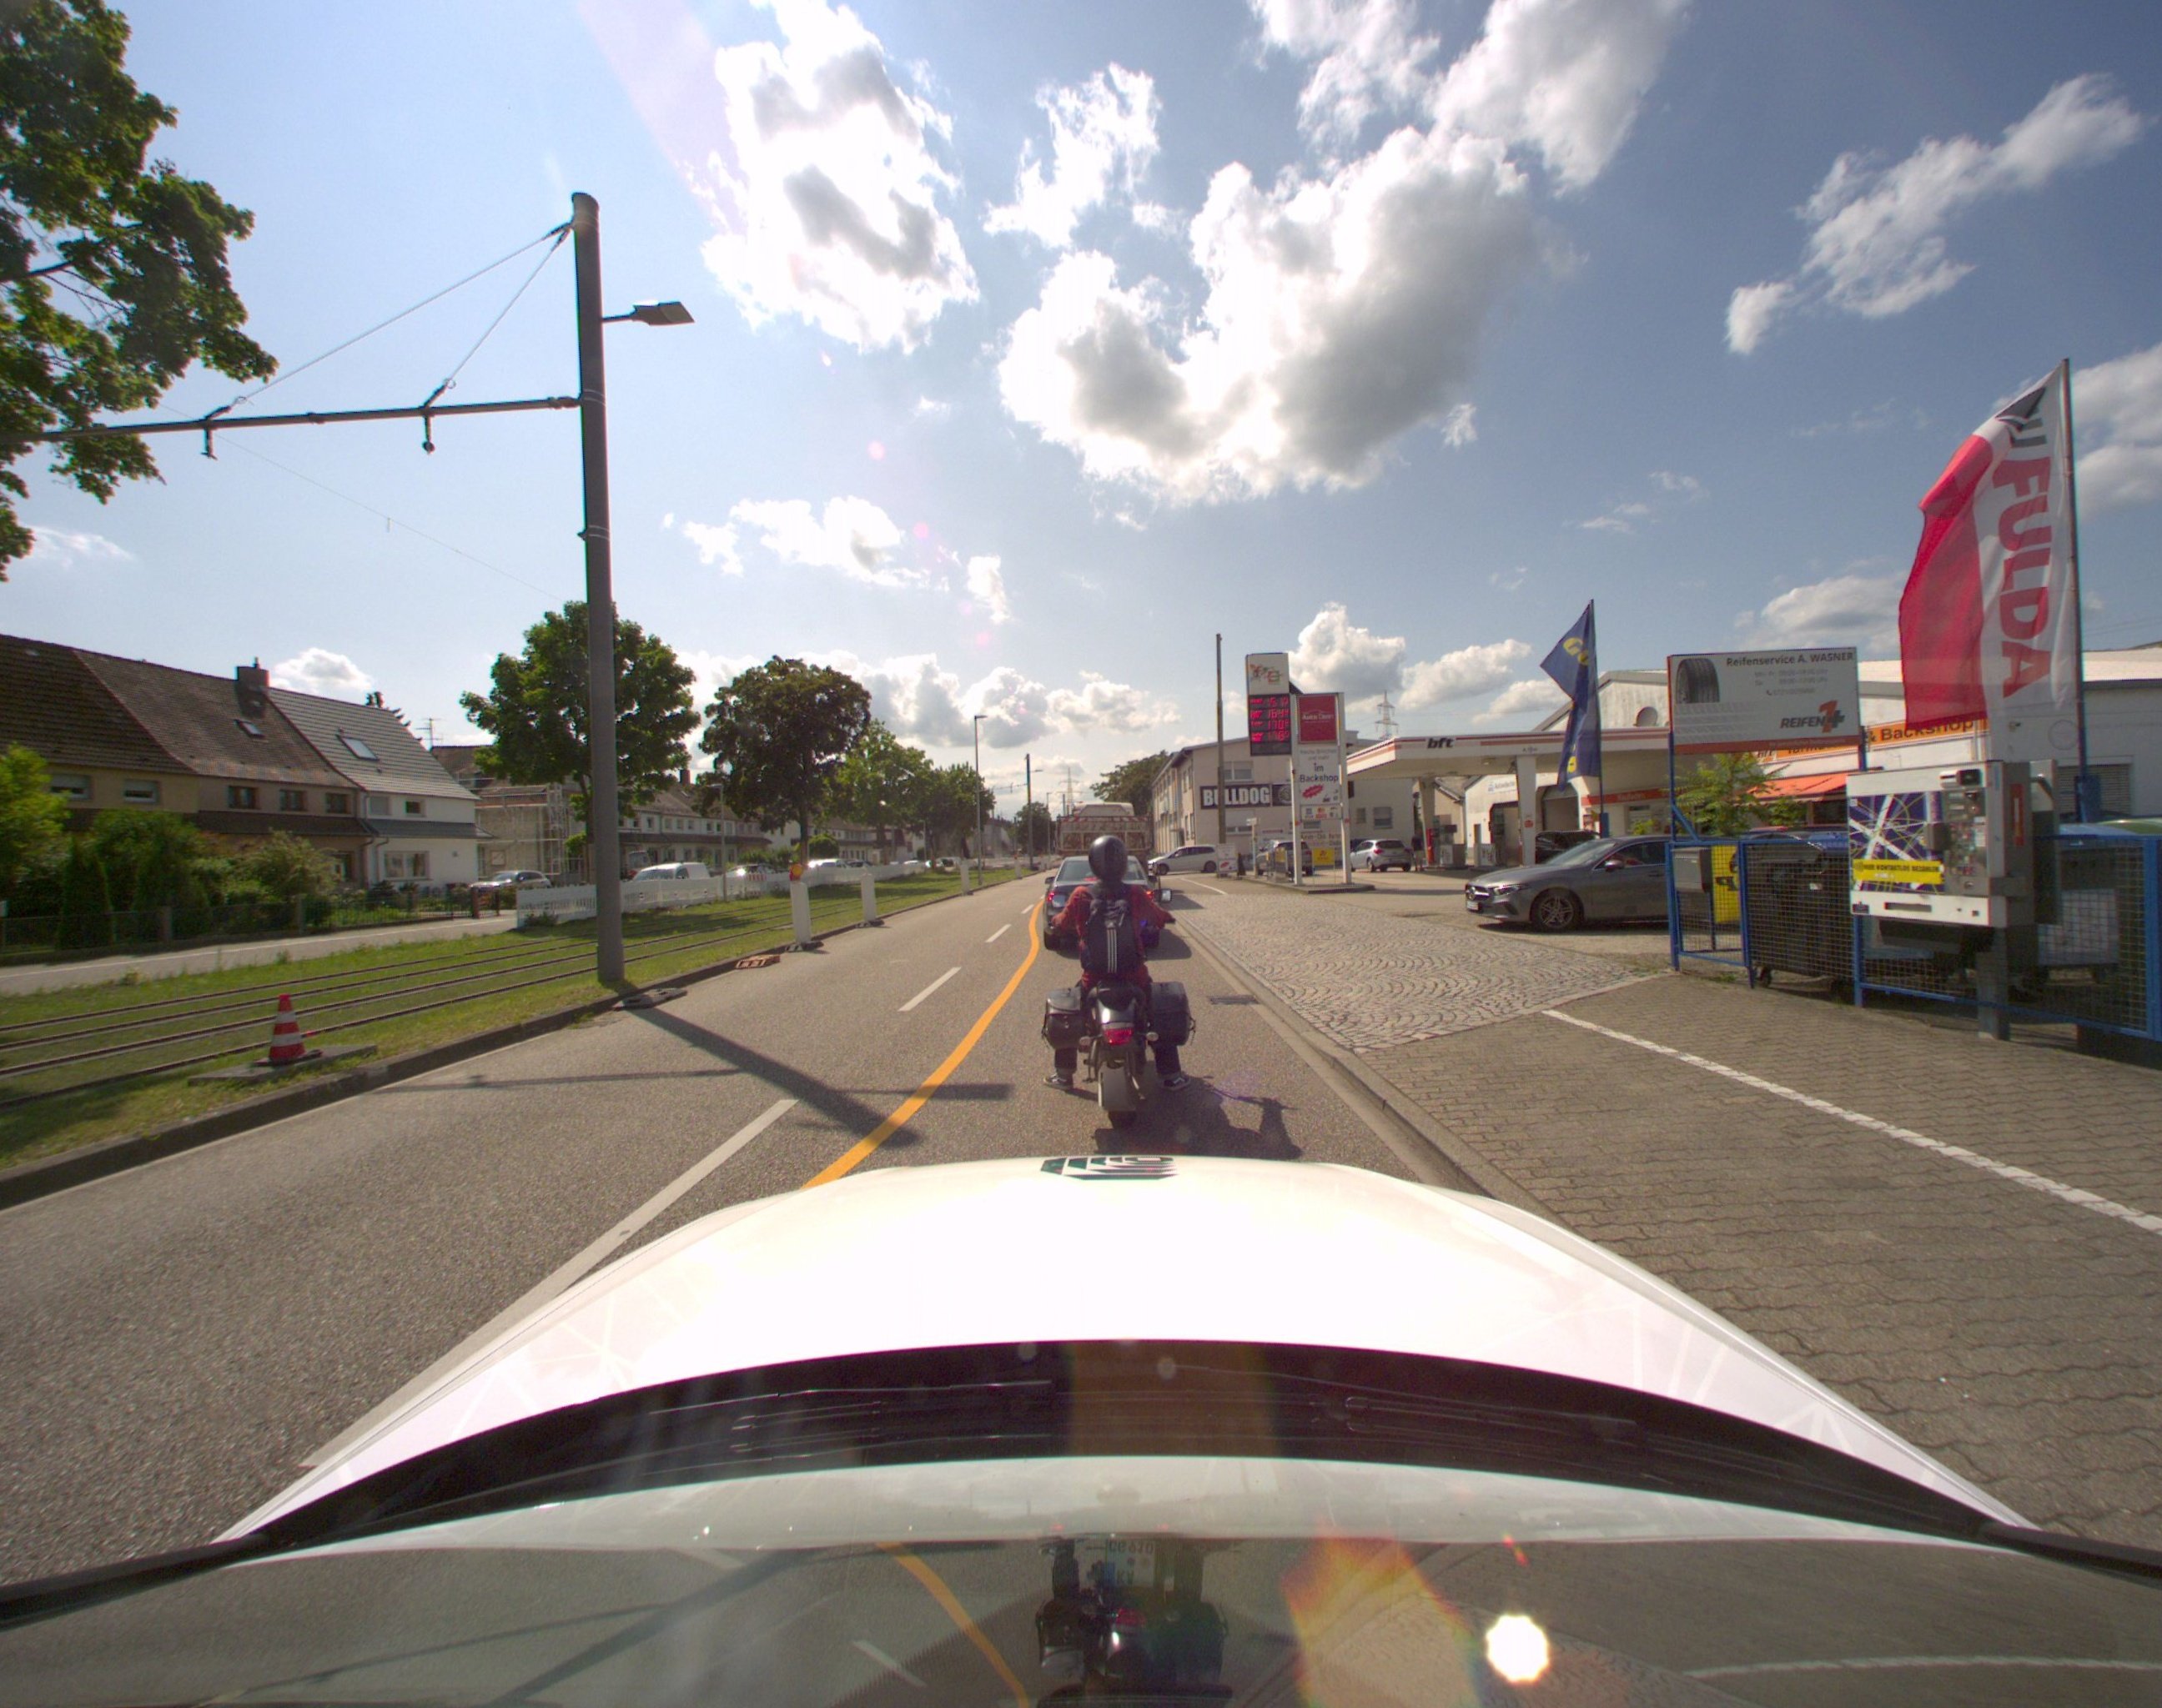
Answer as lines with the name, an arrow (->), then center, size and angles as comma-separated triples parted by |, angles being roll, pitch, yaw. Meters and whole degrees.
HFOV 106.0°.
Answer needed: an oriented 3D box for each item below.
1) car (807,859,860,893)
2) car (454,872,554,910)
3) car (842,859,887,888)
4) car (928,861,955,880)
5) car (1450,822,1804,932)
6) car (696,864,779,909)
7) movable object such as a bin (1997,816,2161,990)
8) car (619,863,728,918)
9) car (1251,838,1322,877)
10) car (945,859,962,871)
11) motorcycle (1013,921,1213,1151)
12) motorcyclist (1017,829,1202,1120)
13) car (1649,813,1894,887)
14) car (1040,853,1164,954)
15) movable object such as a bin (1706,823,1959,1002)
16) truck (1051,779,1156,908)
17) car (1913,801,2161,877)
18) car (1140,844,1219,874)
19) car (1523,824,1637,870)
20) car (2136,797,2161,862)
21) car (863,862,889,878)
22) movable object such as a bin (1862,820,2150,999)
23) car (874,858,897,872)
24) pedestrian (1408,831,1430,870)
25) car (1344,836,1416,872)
car -> -15.068, 1.329, 49.853 | 1.769, 1.867, 4.130 | -2, 0, 2
car -> -27.441, 1.729, 38.885 | 1.769, 1.519, 4.002 | -2, 0, 2
car -> -14.809, 1.336, 56.030 | 1.769, 1.805, 4.130 | -2, 0, 2
car -> -13.735, 1.630, 80.446 | 1.769, 1.722, 4.130 | -2, 0, 2
car -> 8.233, 0.337, 12.612 | 4.252, 1.415, 1.676 | -2, 0, 5
car -> -15.411, 1.408, 36.790 | 1.769, 1.774, 4.230 | -2, 0, 2
movable object such as a bin -> 9.484, 0.376, 7.124 | 1.397, 1.396, 1.338 | -2, 0, 1
car -> -15.434, 1.318, 31.147 | 1.769, 1.821, 4.366 | -2, 0, 2
car -> 9.113, 0.150, 36.446 | 1.665, 1.562, 4.235 | -2, 0, -6
car -> -19.643, 1.630, 125.908 | 1.769, 1.722, 4.130 | -2, 0, 2
motorcycle -> 0.203, 1.027, 5.438 | 0.975, 0.897, 2.654 | -2, 0, 2
motorcyclist -> 0.178, 0.679, 5.134 | 0.975, 1.602, 1.088 | -2, 0, 1
car -> 15.771, -0.088, 18.751 | 4.180, 1.463, 1.587 | -2, 0, 2
car -> 0.375, 0.726, 13.944 | 1.816, 1.452, 4.002 | 0, 0, 2
movable object such as a bin -> 6.687, 0.480, 7.352 | 1.104, 1.436, 1.244 | -2, 0, 1
truck -> 0.724, -0.287, 25.493 | 2.628, 3.296, 8.059 | -2, 0, 2
car -> 21.520, -0.341, 18.159 | 4.180, 1.463, 1.587 | -2, 0, 2
car -> 5.659, 0.291, 47.062 | 4.225, 1.543, 1.669 | -2, 0, -7
car -> 18.116, -0.248, 29.778 | 1.800, 1.503, 3.833 | -2, 0, 0
car -> 26.524, -0.637, 17.996 | 4.180, 1.463, 1.587 | -2, 0, 2
car -> -24.396, 1.837, 97.033 | 1.769, 1.722, 4.130 | -2, 0, 2
movable object such as a bin -> 8.082, 0.446, 7.212 | 1.104, 1.396, 1.244 | -2, 0, 1
car -> -25.168, 1.400, 105.194 | 1.769, 1.722, 4.130 | -2, 0, 2
pedestrian -> 14.648, -0.133, 35.312 | 0.701, 1.656, 0.551 | -2, 0, 37
car -> 13.473, -0.009, 36.913 | 1.800, 1.503, 3.832 | -2, 0, -1
